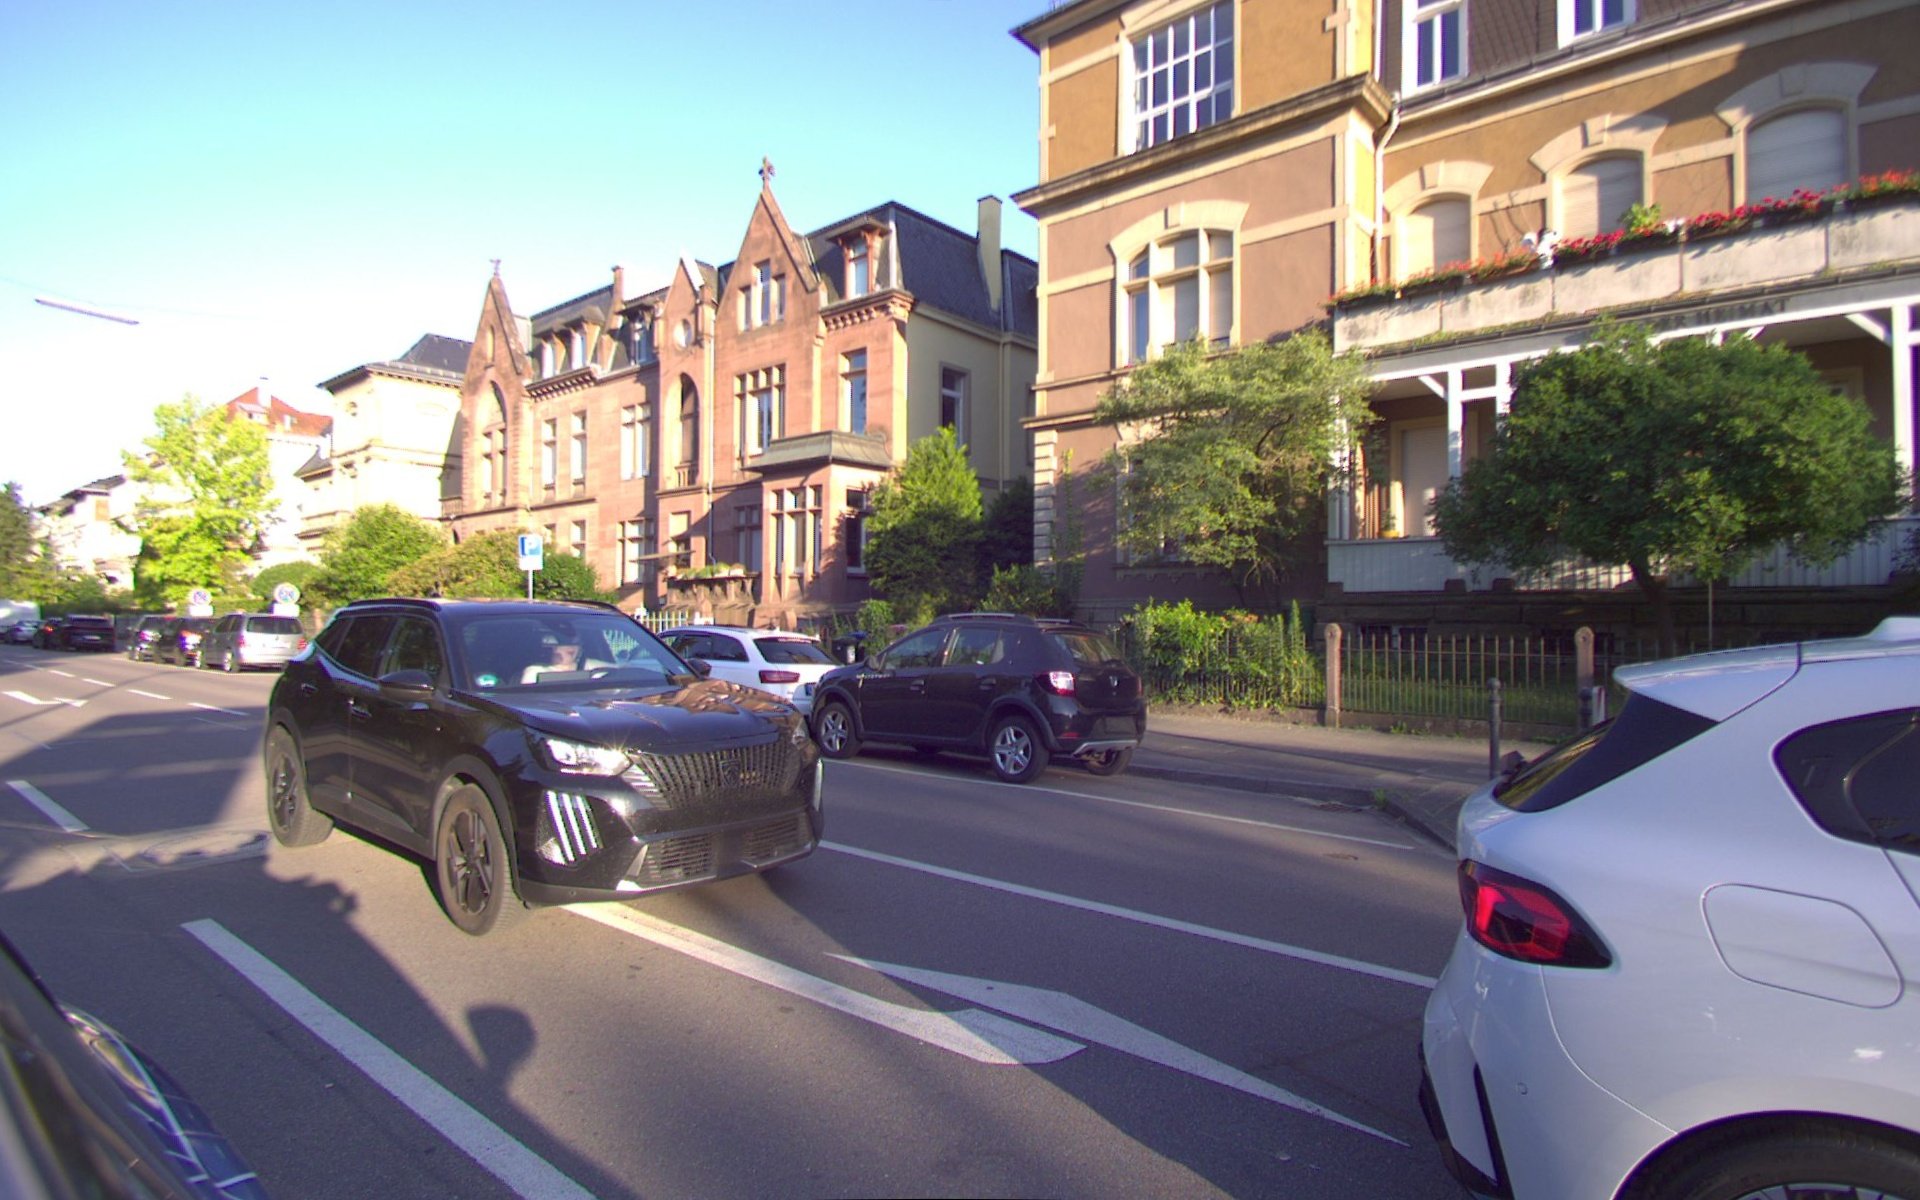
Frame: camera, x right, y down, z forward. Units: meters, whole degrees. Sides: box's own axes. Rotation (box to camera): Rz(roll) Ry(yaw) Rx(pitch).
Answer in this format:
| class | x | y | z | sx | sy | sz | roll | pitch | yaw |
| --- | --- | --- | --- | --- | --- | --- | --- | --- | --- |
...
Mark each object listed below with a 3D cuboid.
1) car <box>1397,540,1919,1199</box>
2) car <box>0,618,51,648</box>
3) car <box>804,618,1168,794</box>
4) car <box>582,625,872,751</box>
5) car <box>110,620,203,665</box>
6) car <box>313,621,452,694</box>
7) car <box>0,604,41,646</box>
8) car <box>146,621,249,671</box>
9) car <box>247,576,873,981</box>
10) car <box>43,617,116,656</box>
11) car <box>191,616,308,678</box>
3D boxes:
| class | x | y | z | sx | sy | sz | roll | pitch | yaw |
| --- | --- | --- | --- | --- | --- | --- | --- | --- | --- |
| car | 2.977 | 0.649 | 1.222 | 4.185 | 1.477 | 1.734 | -1 | -2 | 40 |
| car | -51.021 | 1.796 | 55.196 | 3.852 | 1.617 | 1.693 | -1 | -3 | 41 |
| car | 0.167 | 1.019 | 10.809 | 3.722 | 1.546 | 1.610 | -1 | -5 | 43 |
| car | -3.305 | 1.108 | 13.792 | 4.432 | 1.454 | 1.587 | -1 | -5 | 43 |
| car | -27.198 | 1.415 | 34.226 | 3.719 | 1.461 | 1.694 | -1 | -3 | 39 |
| car | -12.661 | 1.218 | 22.110 | 3.566 | 1.456 | 1.610 | -1 | -3 | 43 |
| car | -56.212 | 1.490 | 59.602 | 5.874 | 2.387 | 2.203 | -1 | -3 | 40 |
| car | -23.602 | 1.391 | 31.285 | 3.719 | 1.461 | 1.694 | -1 | -3 | 39 |
| car | -2.500 | 0.732 | 5.828 | 3.997 | 1.547 | 1.661 | -1 | -2 | 40 |
| car | -37.998 | 1.580 | 43.635 | 3.721 | 1.617 | 1.856 | -1 | -3 | 41 |
| car | -19.770 | 1.269 | 28.119 | 3.749 | 1.601 | 1.694 | -1 | -3 | 39 |
